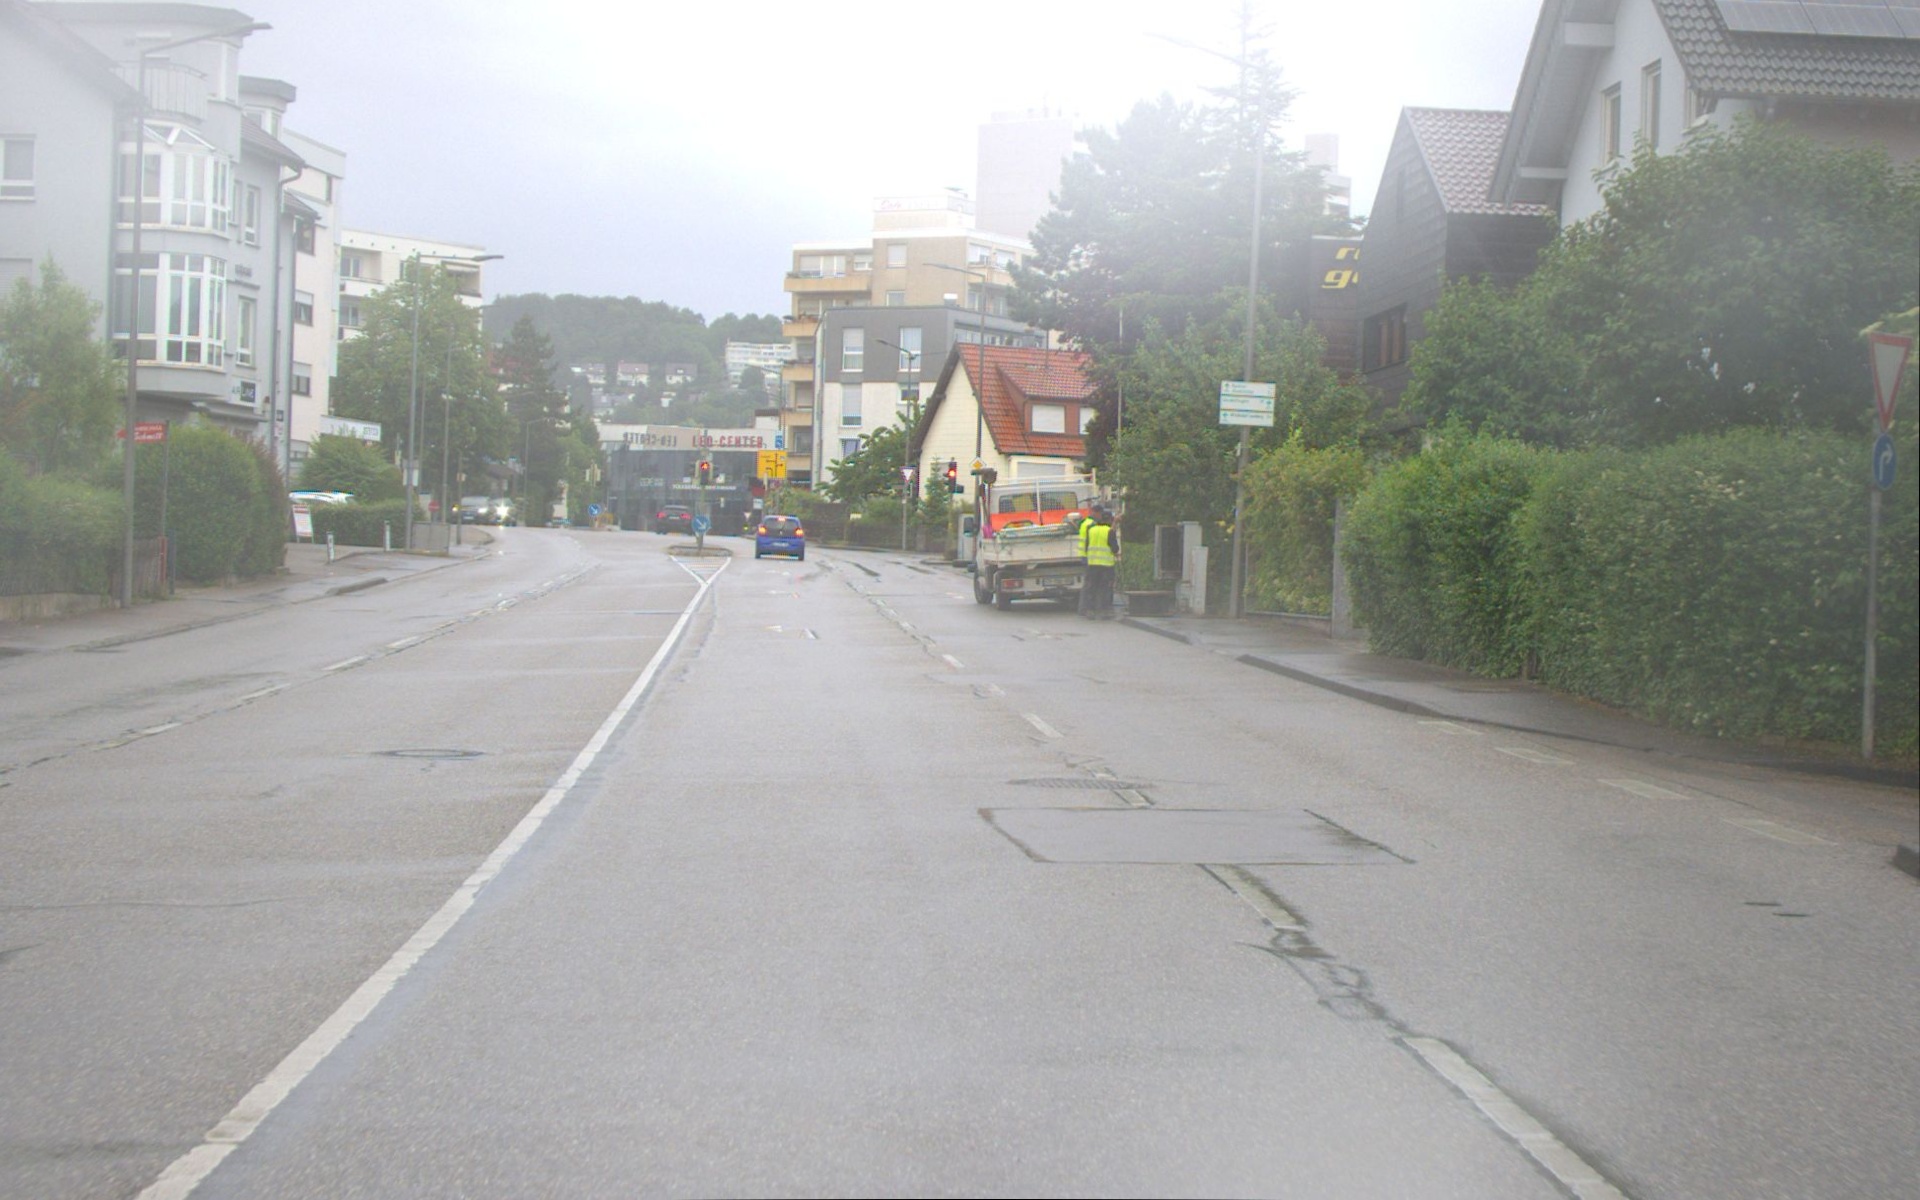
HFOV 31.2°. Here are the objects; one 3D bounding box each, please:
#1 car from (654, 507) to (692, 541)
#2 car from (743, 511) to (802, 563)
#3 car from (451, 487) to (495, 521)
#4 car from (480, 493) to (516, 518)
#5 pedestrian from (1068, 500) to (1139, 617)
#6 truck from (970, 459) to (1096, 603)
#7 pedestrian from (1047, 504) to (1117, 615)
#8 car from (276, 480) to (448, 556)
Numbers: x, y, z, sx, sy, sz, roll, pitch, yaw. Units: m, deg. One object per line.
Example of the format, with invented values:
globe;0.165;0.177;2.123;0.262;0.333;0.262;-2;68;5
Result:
car;-13.943;-3.683;167.234;1.579;1.433;4.000;6;0;-3
car;-6.195;-2.071;113.680;1.794;1.664;4.000;1;1;-1
car;-24.140;-4.763;170.571;1.659;1.458;4.000;6;0;-3
car;-23.950;-4.899;178.231;1.437;1.231;4.001;3;1;-3
pedestrian;2.234;-0.649;53.591;0.822;1.791;0.800;1;1;-21
truck;1.228;-1.169;58.177;1.993;2.295;4.000;2;1;1
pedestrian;1.928;-0.643;54.417;0.822;1.720;0.841;1;1;-20
car;-17.745;-2.421;102.120;4.524;2.007;1.999;3;1;12
